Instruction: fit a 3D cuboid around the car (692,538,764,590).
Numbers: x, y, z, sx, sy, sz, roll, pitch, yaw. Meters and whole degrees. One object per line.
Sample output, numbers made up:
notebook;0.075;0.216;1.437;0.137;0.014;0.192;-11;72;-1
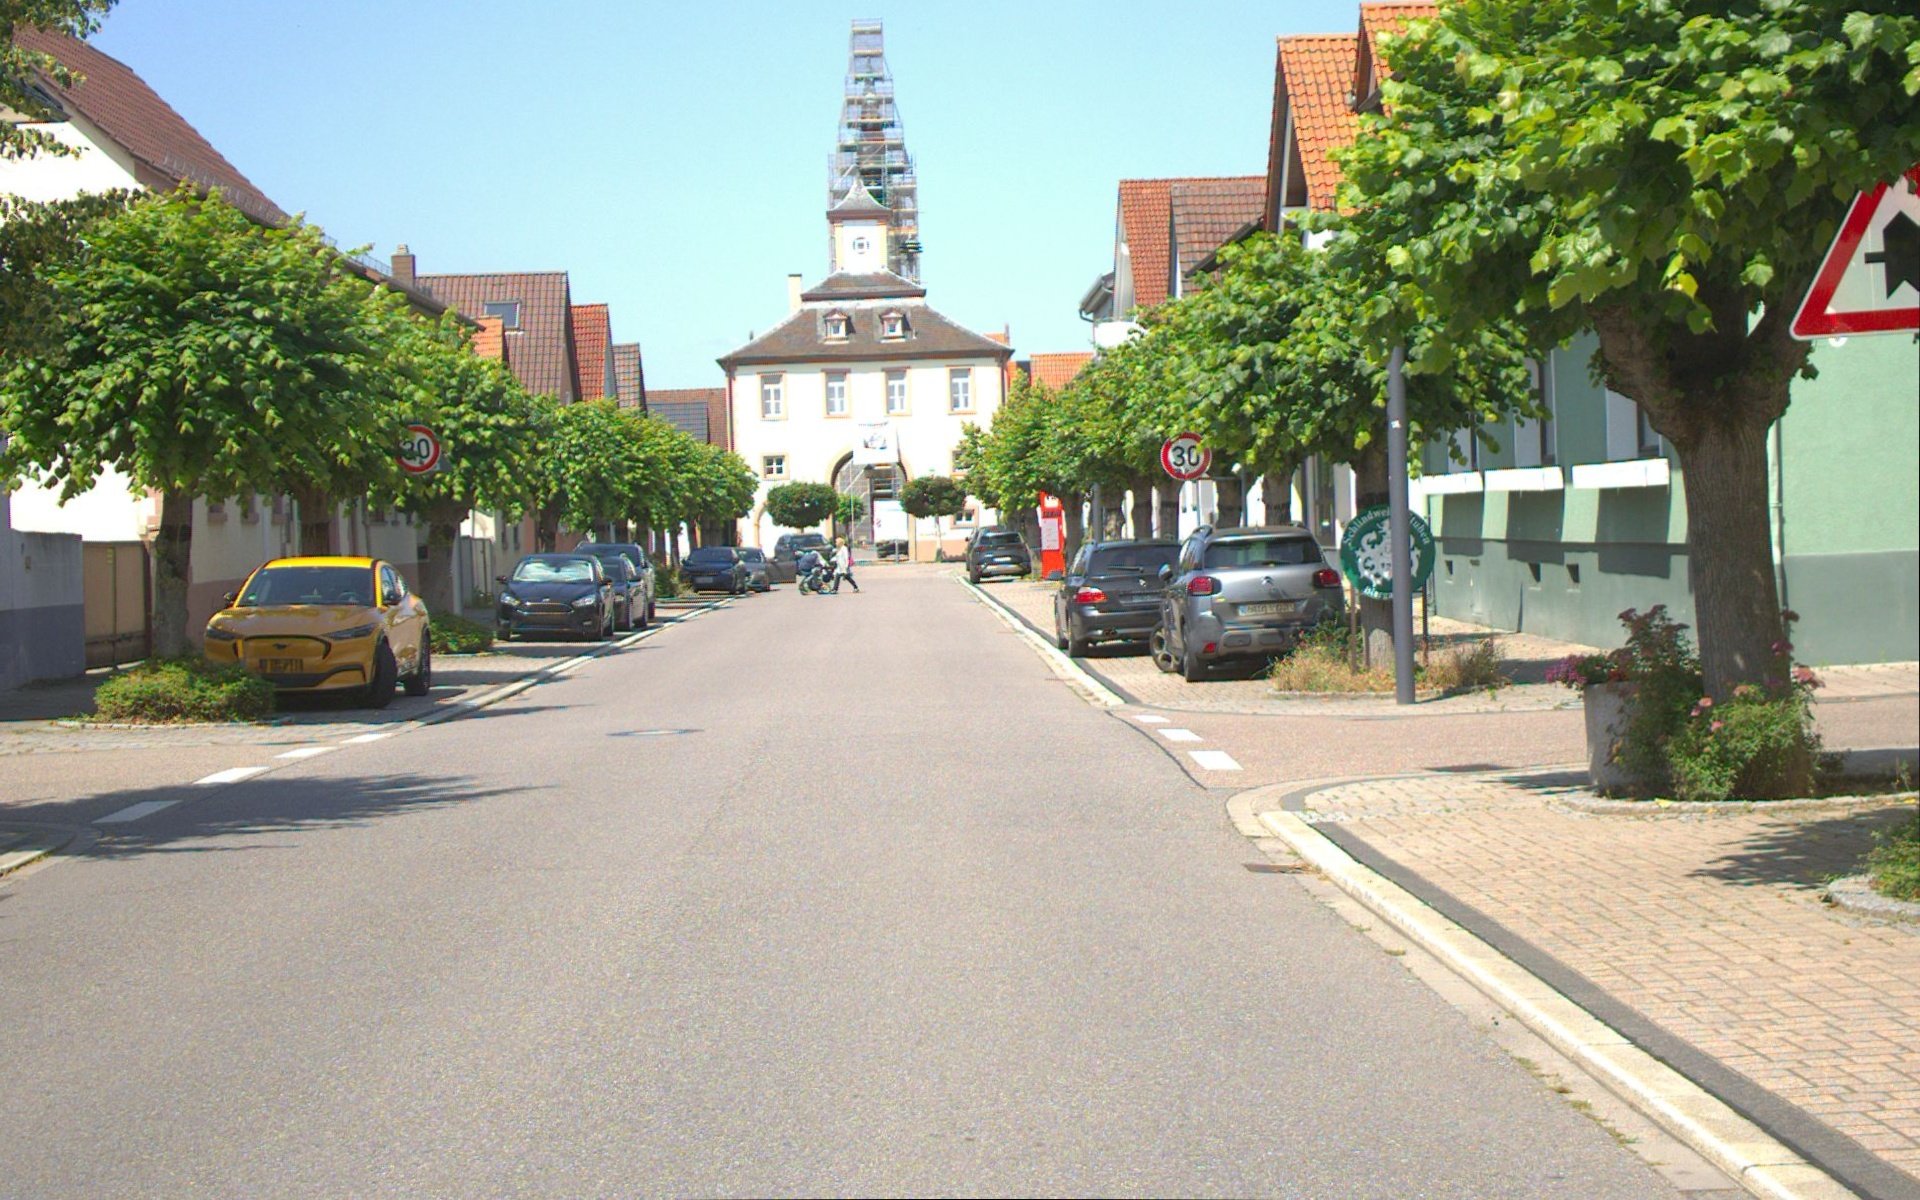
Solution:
car;-7.253;-1.123;107.812;1.993;1.606;3.855;0;0;0

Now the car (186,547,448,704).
car;-6.948;0.229;37.639;1.993;1.606;4.689;0;1;0

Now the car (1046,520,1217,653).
car;2.191;-0.203;44.956;1.837;1.550;4.314;-3;1;-1

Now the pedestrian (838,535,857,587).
pedestrian;-3.053;-1.046;93.072;0.358;1.398;0.319;-1;1;36

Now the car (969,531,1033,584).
car;1.271;-1.342;108.075;1.837;1.550;4.314;-3;1;0

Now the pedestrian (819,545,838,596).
pedestrian;-3.587;-0.804;93.946;0.358;1.398;0.319;-1;1;36

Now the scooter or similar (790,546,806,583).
scooter or similar;-4.420;-0.963;93.811;0.329;0.999;0.241;-1;1;36

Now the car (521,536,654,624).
car;-6.970;-0.374;64.675;1.993;1.606;4.689;0;0;0

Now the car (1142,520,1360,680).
car;3.099;-0.038;37.357;1.837;1.602;4.001;-1;1;-2

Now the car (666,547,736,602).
car;-7.658;-0.776;102.069;1.757;1.550;4.020;-2;1;0

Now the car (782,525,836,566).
car;-6.165;-2.194;139.890;1.993;1.606;4.507;0;0;-5

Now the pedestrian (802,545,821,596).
pedestrian;-4.044;-0.804;93.609;0.358;1.398;0.319;-1;1;36

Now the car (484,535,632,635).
car;-6.843;-0.291;58.939;1.993;1.606;4.689;0;2;0
